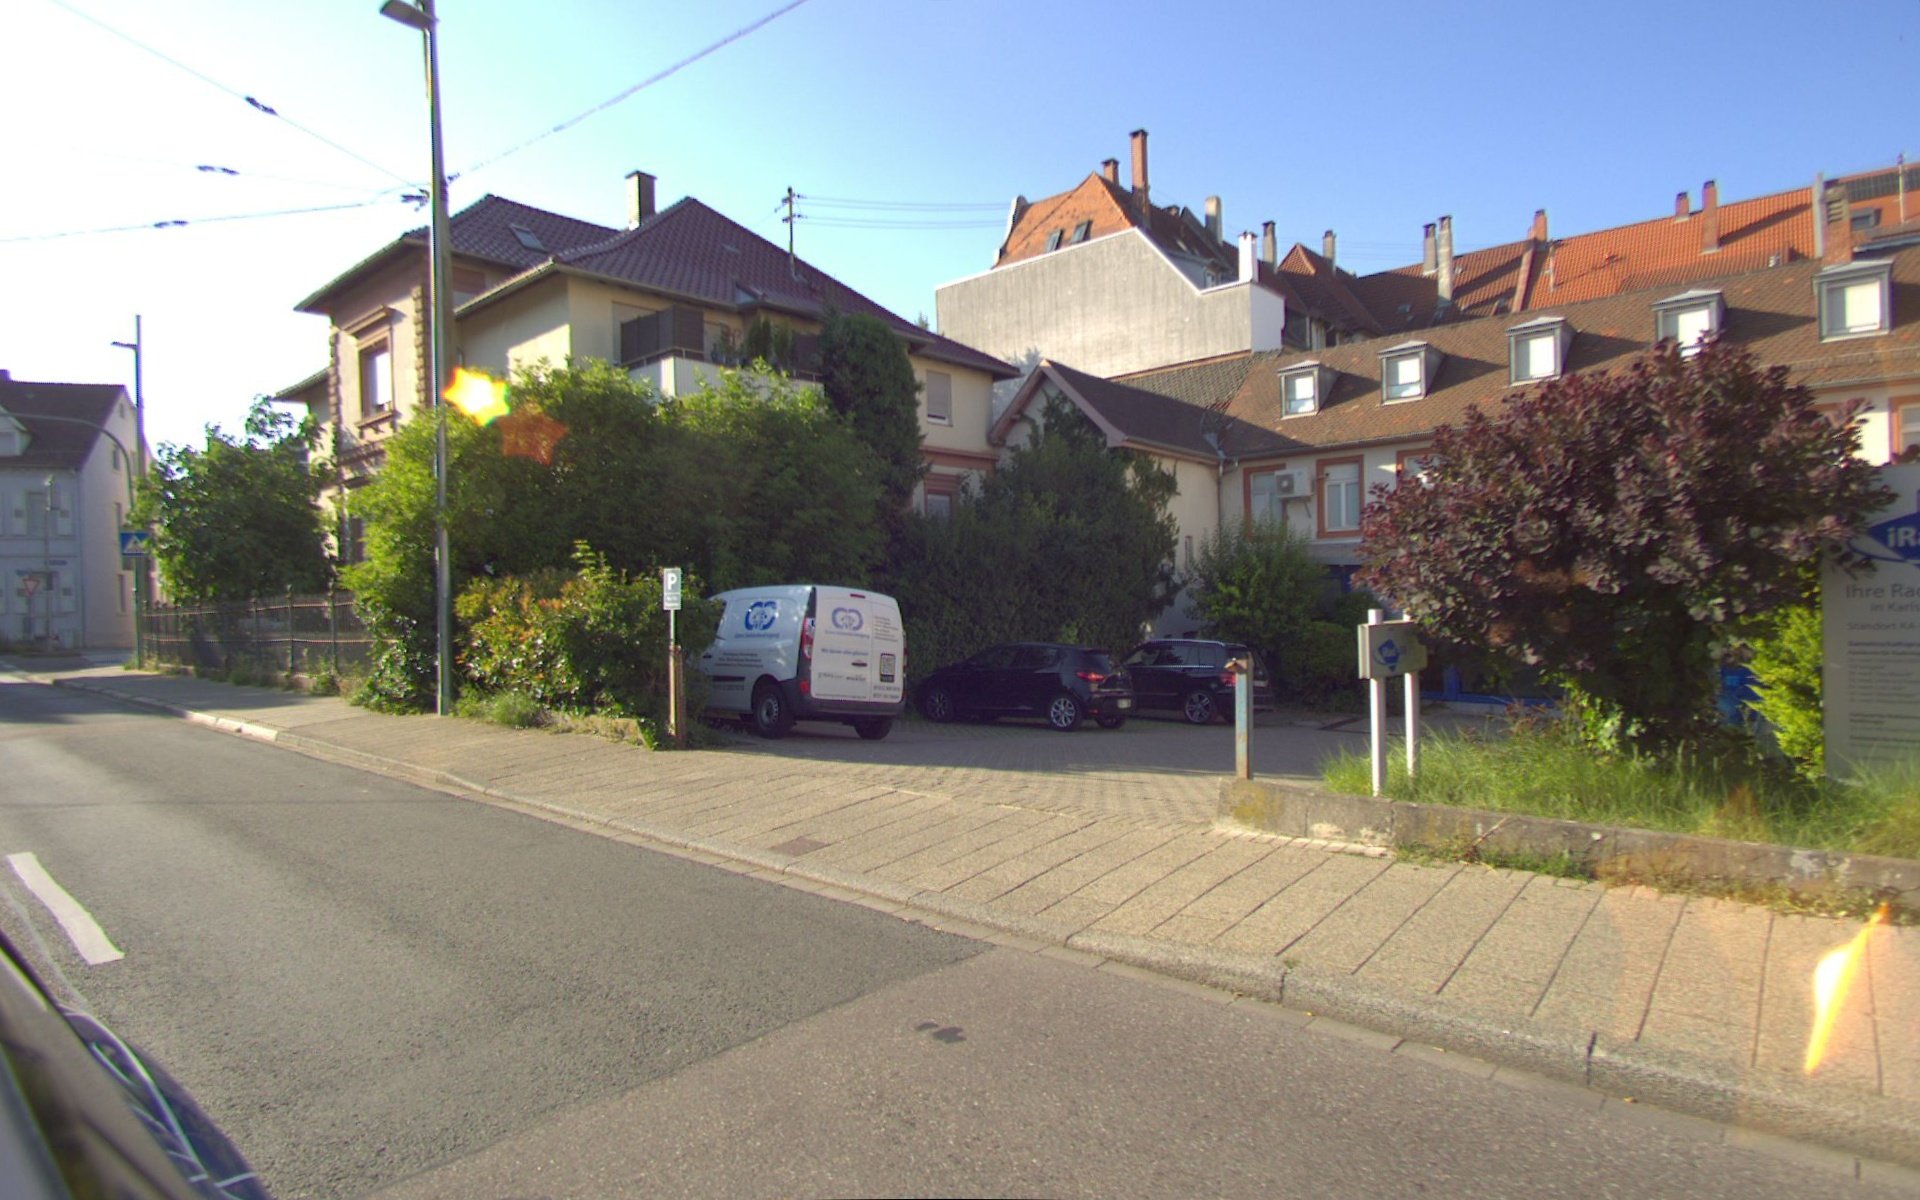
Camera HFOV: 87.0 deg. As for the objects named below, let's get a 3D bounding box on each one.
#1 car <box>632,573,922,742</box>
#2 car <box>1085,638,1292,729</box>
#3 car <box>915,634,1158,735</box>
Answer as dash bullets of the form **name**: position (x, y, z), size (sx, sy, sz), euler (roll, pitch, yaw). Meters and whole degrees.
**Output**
- **car**: position (-2.409, 0.736, 12.867), size (3.671, 1.829, 1.682), euler (-2, -7, 43)
- **car**: position (4.666, 1.669, 20.926), size (3.794, 1.681, 1.820), euler (-2, -5, 45)
- **car**: position (1.265, 1.374, 17.325), size (3.786, 1.529, 1.824), euler (-1, -4, 37)
